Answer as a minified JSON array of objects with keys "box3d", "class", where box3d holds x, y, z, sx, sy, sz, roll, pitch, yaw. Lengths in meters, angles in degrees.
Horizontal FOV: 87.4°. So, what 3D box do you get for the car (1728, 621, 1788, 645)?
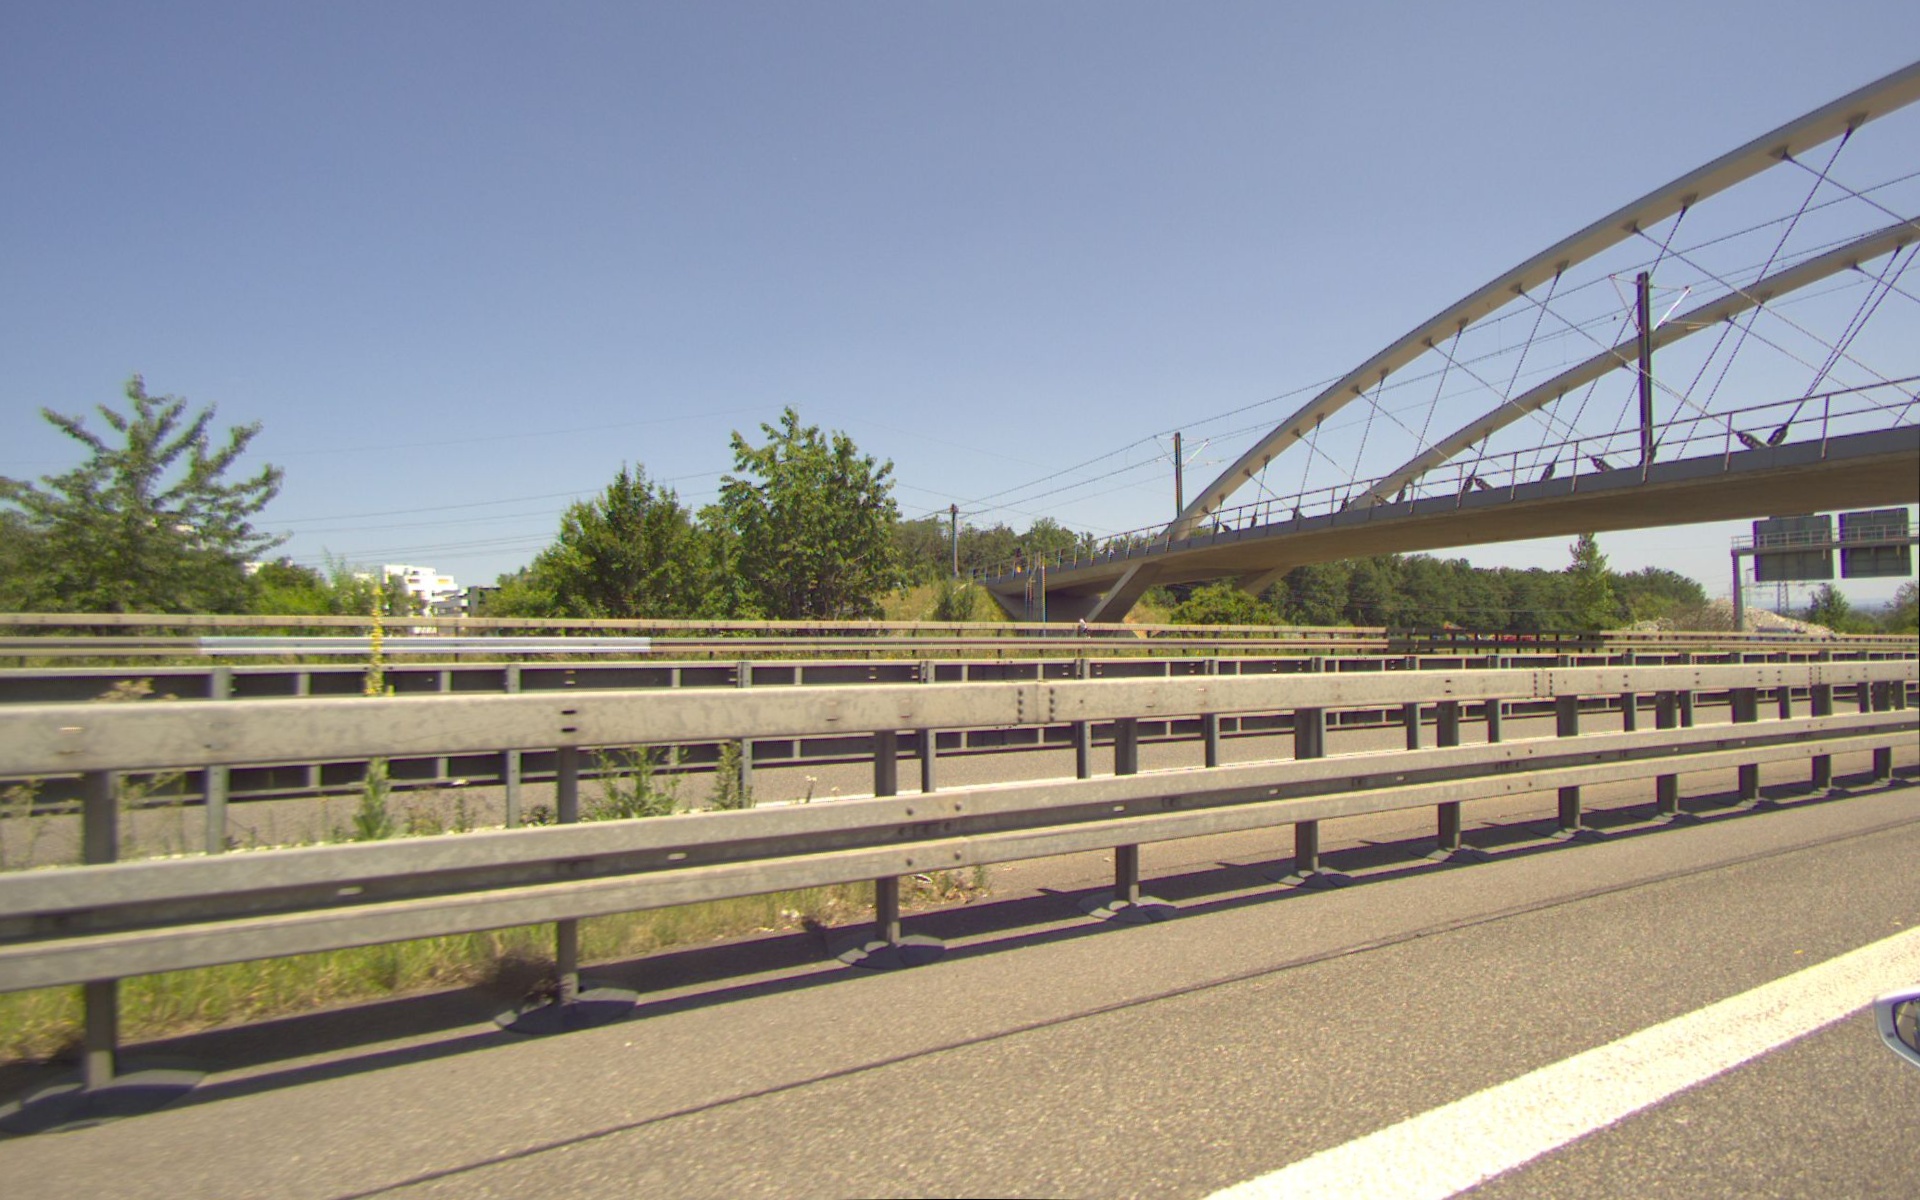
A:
[{"box3d":[59.126,2.439,74.392,4.269,1.639,1.985,1,-1,-28],"class":"car"}]
